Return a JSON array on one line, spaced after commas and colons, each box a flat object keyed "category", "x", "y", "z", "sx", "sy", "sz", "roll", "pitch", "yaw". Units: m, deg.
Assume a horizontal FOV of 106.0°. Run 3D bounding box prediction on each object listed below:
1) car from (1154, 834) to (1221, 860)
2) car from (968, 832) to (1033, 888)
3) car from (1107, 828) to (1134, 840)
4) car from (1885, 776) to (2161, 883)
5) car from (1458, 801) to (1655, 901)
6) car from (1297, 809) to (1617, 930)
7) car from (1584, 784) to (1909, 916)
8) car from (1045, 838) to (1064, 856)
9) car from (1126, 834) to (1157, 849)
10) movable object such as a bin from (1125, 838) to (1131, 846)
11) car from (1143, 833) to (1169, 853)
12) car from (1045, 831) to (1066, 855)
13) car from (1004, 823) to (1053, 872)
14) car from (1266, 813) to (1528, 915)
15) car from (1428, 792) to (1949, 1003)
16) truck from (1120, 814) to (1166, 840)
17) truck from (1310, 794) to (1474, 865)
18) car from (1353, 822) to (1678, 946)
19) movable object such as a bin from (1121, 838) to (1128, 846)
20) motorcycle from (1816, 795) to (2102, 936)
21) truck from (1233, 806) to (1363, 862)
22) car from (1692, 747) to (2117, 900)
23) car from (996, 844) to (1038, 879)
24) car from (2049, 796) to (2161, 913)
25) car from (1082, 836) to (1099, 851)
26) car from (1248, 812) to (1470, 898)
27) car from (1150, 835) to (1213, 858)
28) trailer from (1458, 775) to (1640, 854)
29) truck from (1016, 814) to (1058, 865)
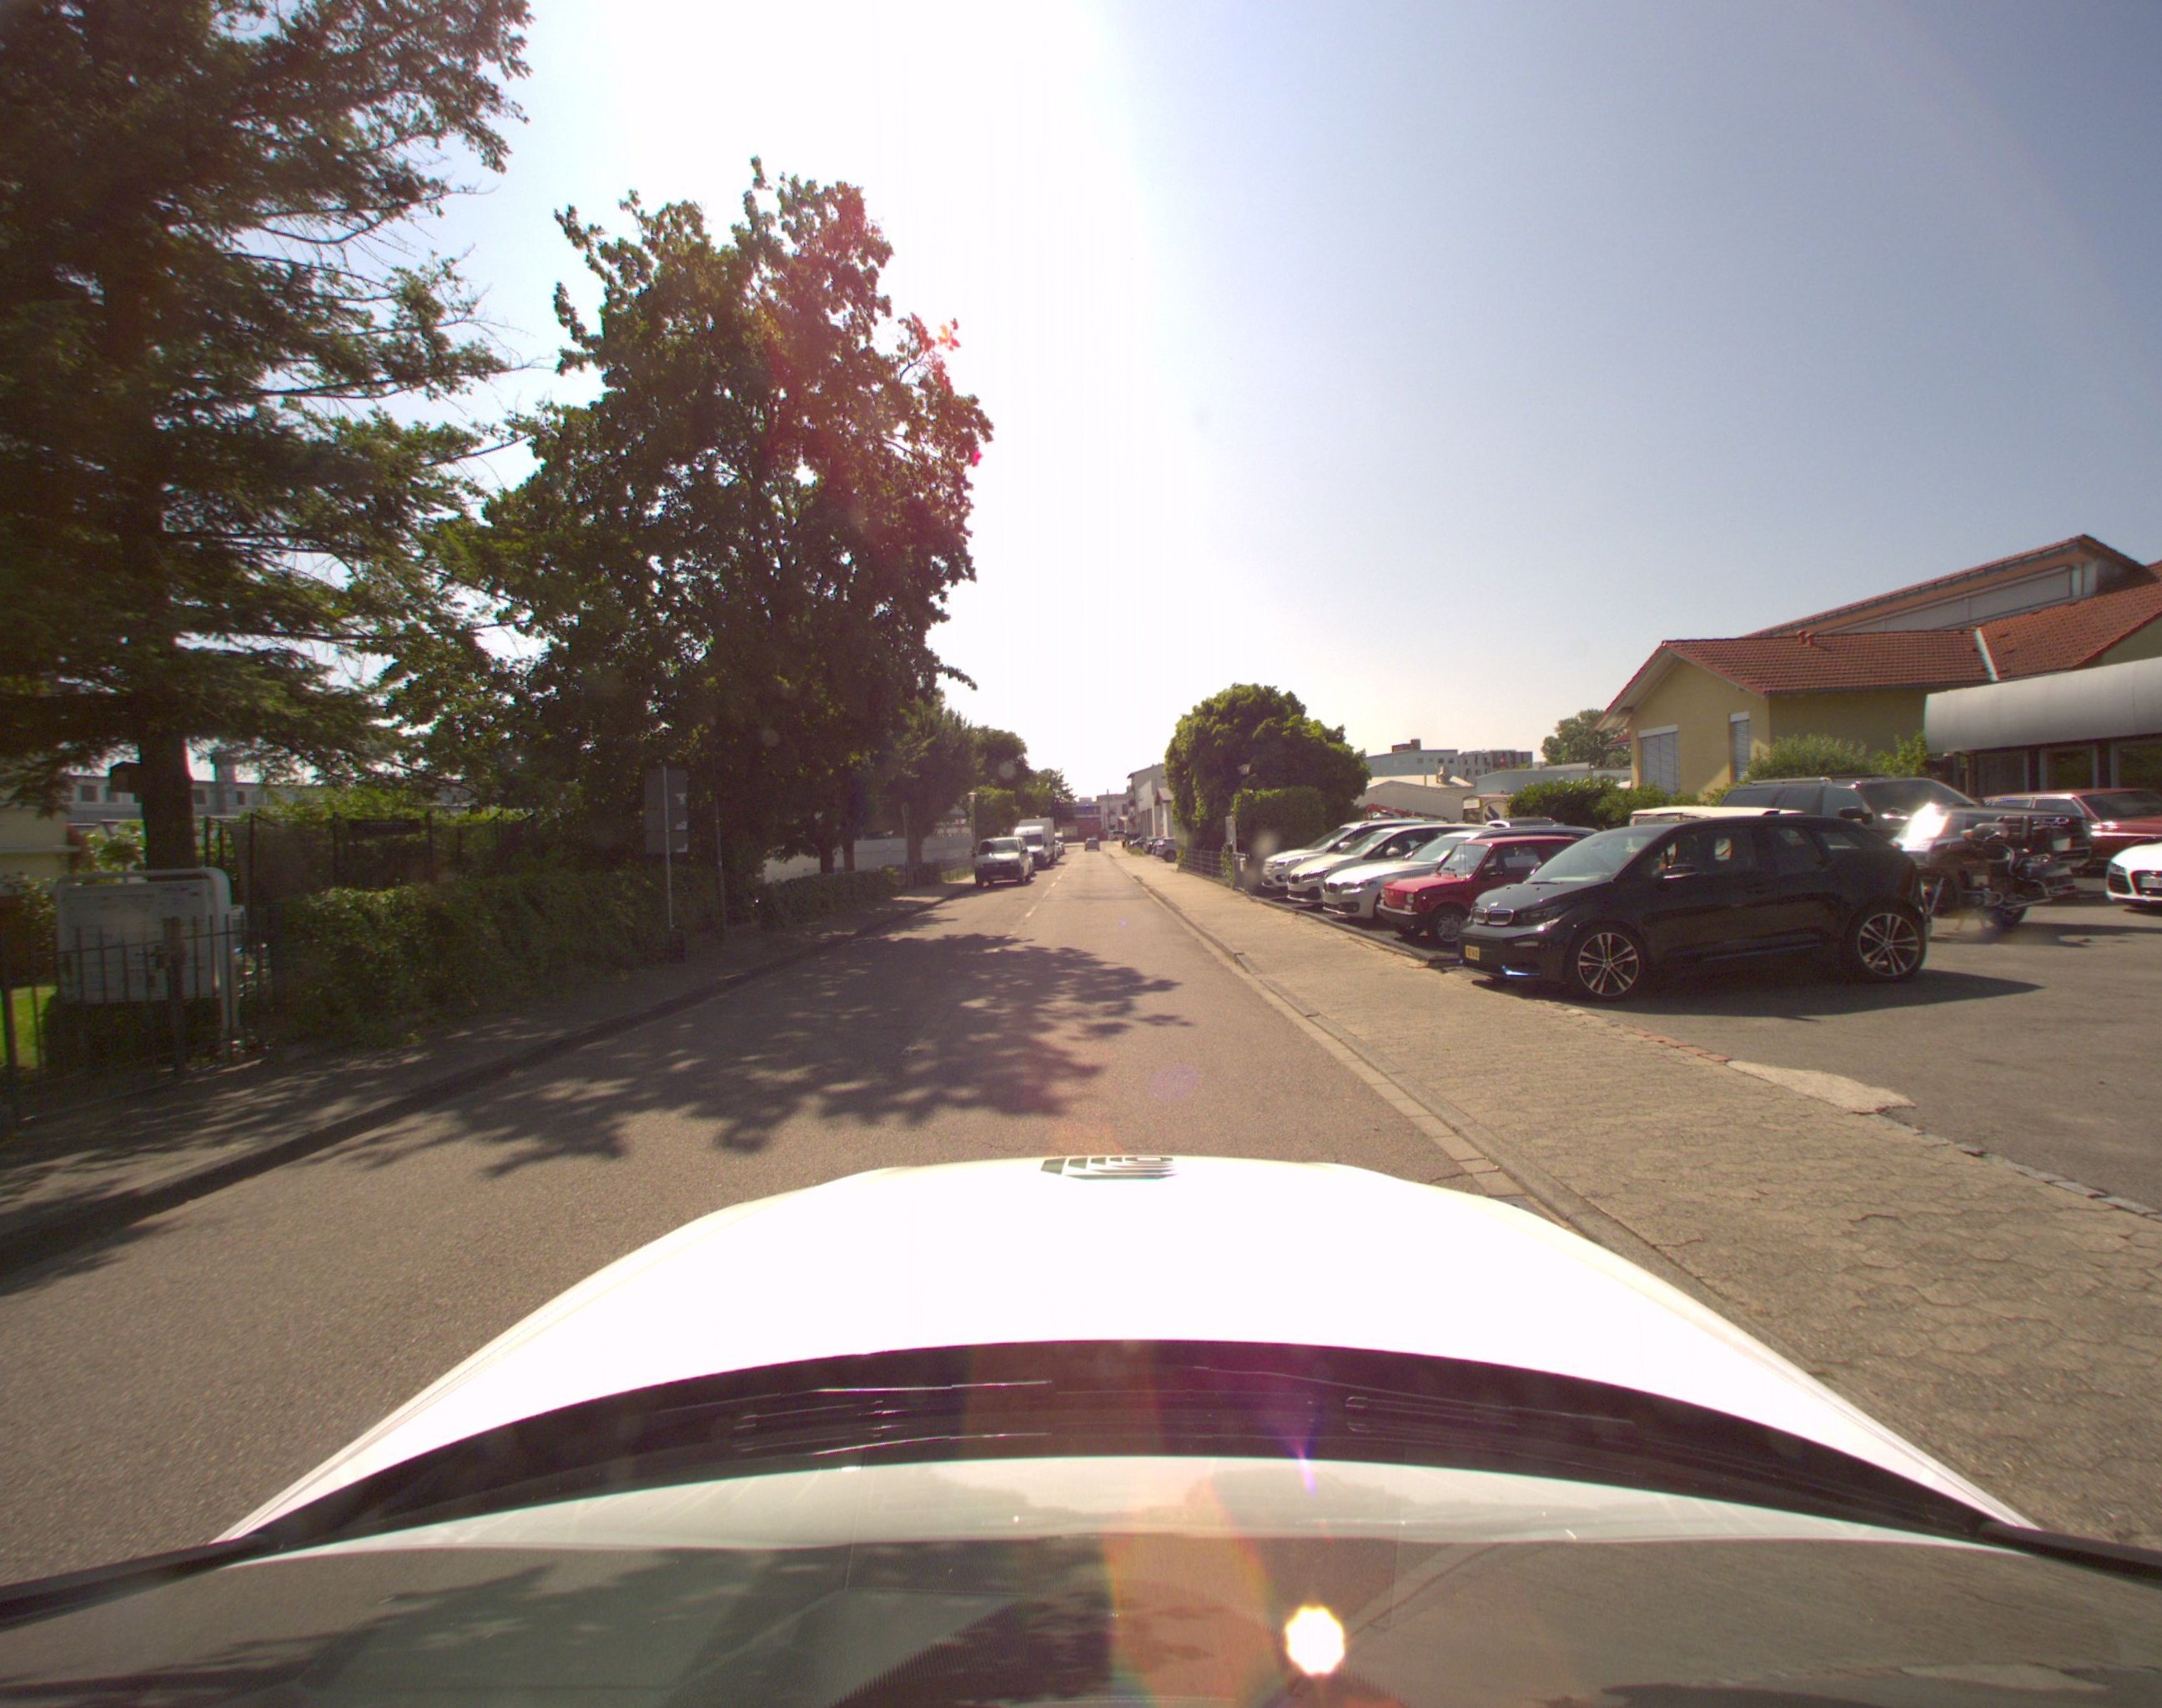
[{"category": "car", "x": 6.983, "y": -0.449, "z": 53.755, "sx": 4.188, "sy": 1.682, "sz": 1.766, "roll": 0, "pitch": 1, "yaw": -1}, {"category": "car", "x": -3.237, "y": 0.202, "z": 33.795, "sx": 1.965, "sy": 2.013, "sz": 5.057, "roll": -5, "pitch": 1, "yaw": 1}, {"category": "car", "x": 7.294, "y": -3.682, "z": 150.013, "sx": 4.668, "sy": 1.957, "sz": 1.904, "roll": -4, "pitch": 2, "yaw": -19}, {"category": "car", "x": 16.876, "y": -0.432, "z": 14.006, "sx": 1.990, "sy": 1.596, "sz": 3.993, "roll": -3, "pitch": 1, "yaw": -5}, {"category": "car", "x": 9.973, "y": -0.068, "z": 17.473, "sx": 1.987, "sy": 1.860, "sz": 3.788, "roll": -2, "pitch": 0, "yaw": 0}, {"category": "car", "x": 6.087, "y": 0.223, "z": 13.499, "sx": 4.396, "sy": 1.497, "sz": 1.894, "roll": -5, "pitch": 0, "yaw": -5}, {"category": "car", "x": 10.478, "y": -0.084, "z": 13.306, "sx": 1.987, "sy": 1.727, "sz": 3.999, "roll": -3, "pitch": 1, "yaw": 0}, {"category": "car", "x": -2.770, "y": -0.745, "z": 83.507, "sx": 1.701, "sy": 1.624, "sz": 3.968, "roll": -4, "pitch": 1, "yaw": -4}, {"category": "car", "x": 6.726, "y": -1.405, "z": 90.432, "sx": 3.242, "sy": 1.398, "sz": 1.674, "roll": -3, "pitch": 1, "yaw": 0}, {"category": "movable object such as a bin", "x": 5.688, "y": -1.426, "z": 98.441, "sx": 0.510, "sy": 0.946, "sz": 0.489, "roll": -3, "pitch": 1, "yaw": 12}, {"category": "car", "x": 6.662, "y": -1.022, "z": 72.869, "sx": 1.852, "sy": 1.567, "sz": 4.951, "roll": -3, "pitch": 2, "yaw": 0}, {"category": "car", "x": -2.766, "y": -1.275, "z": 88.675, "sx": 2.000, "sy": 2.365, "sz": 5.227, "roll": -5, "pitch": 2, "yaw": -1}, {"category": "car", "x": -3.088, "y": -0.405, "z": 49.779, "sx": 2.160, "sy": 2.595, "sz": 6.923, "roll": -4, "pitch": 1, "yaw": 2}, {"category": "car", "x": 6.165, "y": 0.174, "z": 16.176, "sx": 4.396, "sy": 1.527, "sz": 1.894, "roll": -5, "pitch": 0, "yaw": -5}, {"category": "car", "x": 5.705, "y": 0.366, "z": 7.998, "sx": 3.792, "sy": 1.624, "sz": 1.759, "roll": -3, "pitch": 1, "yaw": -2}, {"category": "truck", "x": 10.757, "y": -4.676, "z": 141.590, "sx": 7.350, "sy": 3.644, "sz": 2.763, "roll": -6, "pitch": 2, "yaw": -6}, {"category": "truck", "x": 17.688, "y": -1.399, "z": 46.768, "sx": 8.241, "sy": 3.610, "sz": 2.956, "roll": -2, "pitch": 1, "yaw": 3}, {"category": "car", "x": 5.731, "y": 0.372, "z": 11.013, "sx": 3.539, "sy": 1.335, "sz": 1.558, "roll": -4, "pitch": 0, "yaw": -2}, {"category": "movable object such as a bin", "x": 5.191, "y": -1.416, "z": 98.029, "sx": 0.562, "sy": 0.946, "sz": 0.561, "roll": -3, "pitch": 2, "yaw": 34}, {"category": "motorcycle", "x": 10.411, "y": 0.108, "z": 9.693, "sx": 2.683, "sy": 1.433, "sz": 1.007, "roll": -3, "pitch": 0, "yaw": -11}, {"category": "truck", "x": 13.485, "y": -1.246, "z": 51.038, "sx": 7.493, "sy": 3.422, "sz": 2.527, "roll": 0, "pitch": 1, "yaw": 0}, {"category": "car", "x": 13.300, "y": -0.456, "z": 13.766, "sx": 1.990, "sy": 2.013, "sz": 4.900, "roll": -4, "pitch": 1, "yaw": -4}, {"category": "car", "x": -3.160, "y": 0.335, "z": 40.971, "sx": 1.709, "sy": 1.543, "sz": 4.399, "roll": -5, "pitch": 1, "yaw": -1}, {"category": "car", "x": 14.718, "y": -0.111, "z": 9.814, "sx": 4.111, "sy": 1.318, "sz": 1.946, "roll": -4, "pitch": 1, "yaw": -6}, {"category": "car", "x": 1.136, "y": -1.292, "z": 98.502, "sx": 1.884, "sy": 1.685, "sz": 3.958, "roll": -3, "pitch": 1, "yaw": 0}, {"category": "car", "x": 6.238, "y": 0.003, "z": 18.612, "sx": 4.391, "sy": 1.653, "sz": 1.842, "roll": -3, "pitch": 1, "yaw": -2}, {"category": "car", "x": 7.363, "y": -0.541, "z": 59.881, "sx": 4.339, "sy": 1.441, "sz": 1.892, "roll": -3, "pitch": 1, "yaw": -1}, {"category": "trailer", "x": 26.286, "y": -2.177, "z": 46.115, "sx": 8.293, "sy": 3.862, "sz": 3.073, "roll": -3, "pitch": 1, "yaw": 5}, {"category": "truck", "x": -3.190, "y": -1.011, "z": 59.793, "sx": 2.679, "sy": 3.366, "sz": 7.124, "roll": -4, "pitch": 1, "yaw": -2}]
